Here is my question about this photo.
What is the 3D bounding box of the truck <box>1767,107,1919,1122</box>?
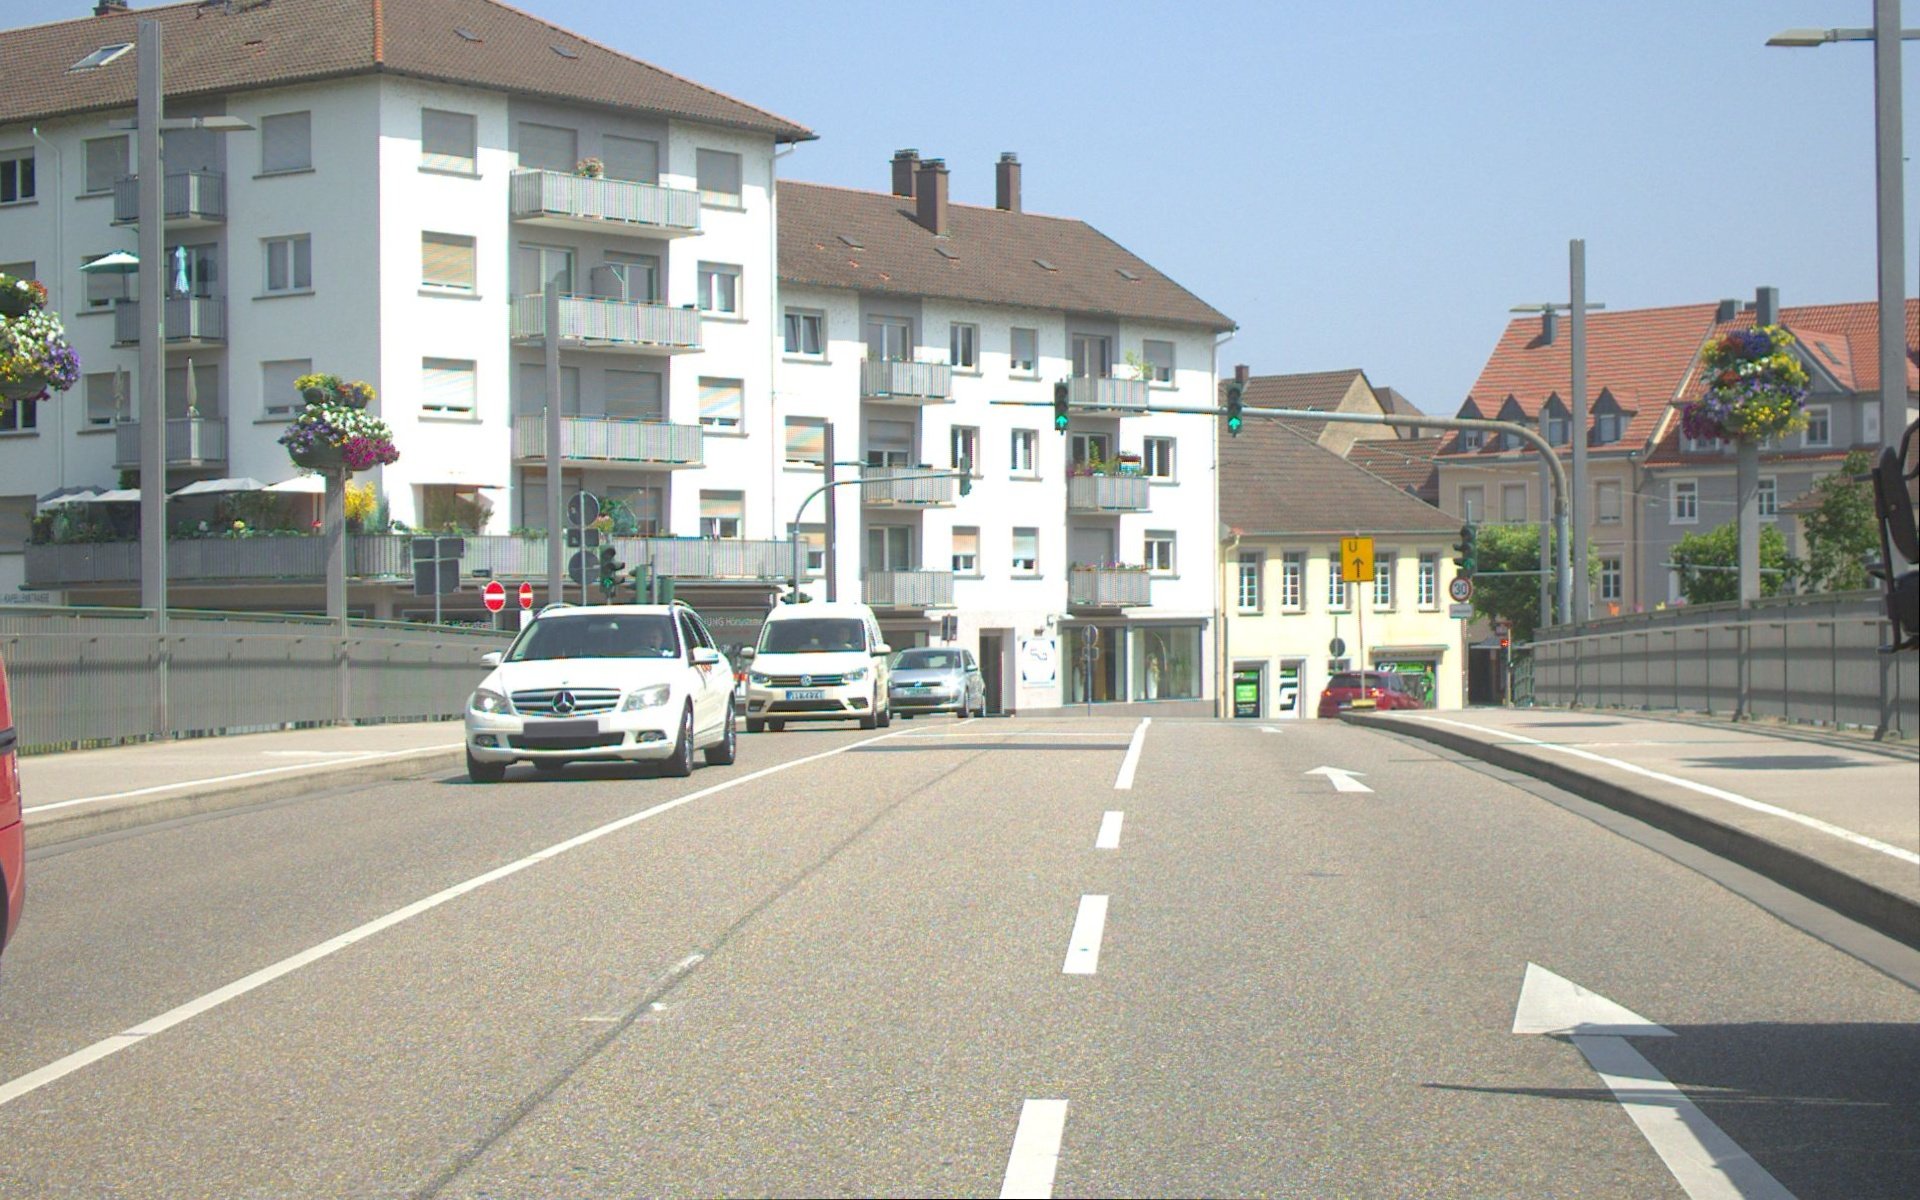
[{"bbox_3d":[3.754,0.027,7.972,2.606,2.682,5.822,-3,0,4],"label":"truck"}]

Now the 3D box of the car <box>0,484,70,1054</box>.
[{"bbox_3d":[-3.940,0.540,9.311,1.736,1.771,4.176,-1,0,3],"label":"car"}]

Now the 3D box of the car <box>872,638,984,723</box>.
[{"bbox_3d":[-0.586,1.532,66.264,1.760,1.514,3.999,-2,0,5],"label":"car"}]

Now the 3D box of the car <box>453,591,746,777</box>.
[{"bbox_3d":[-2.958,0.713,29.147,1.844,1.427,4.713,-1,-1,2],"label":"car"}]

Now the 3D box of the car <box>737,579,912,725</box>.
[{"bbox_3d":[-1.833,0.742,48.039,1.759,1.851,4.645,-3,-2,5],"label":"car"}]

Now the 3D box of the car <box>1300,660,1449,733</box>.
[{"bbox_3d":[10.079,2.314,83.323,1.993,1.607,4.335,-1,0,31],"label":"car"}]
